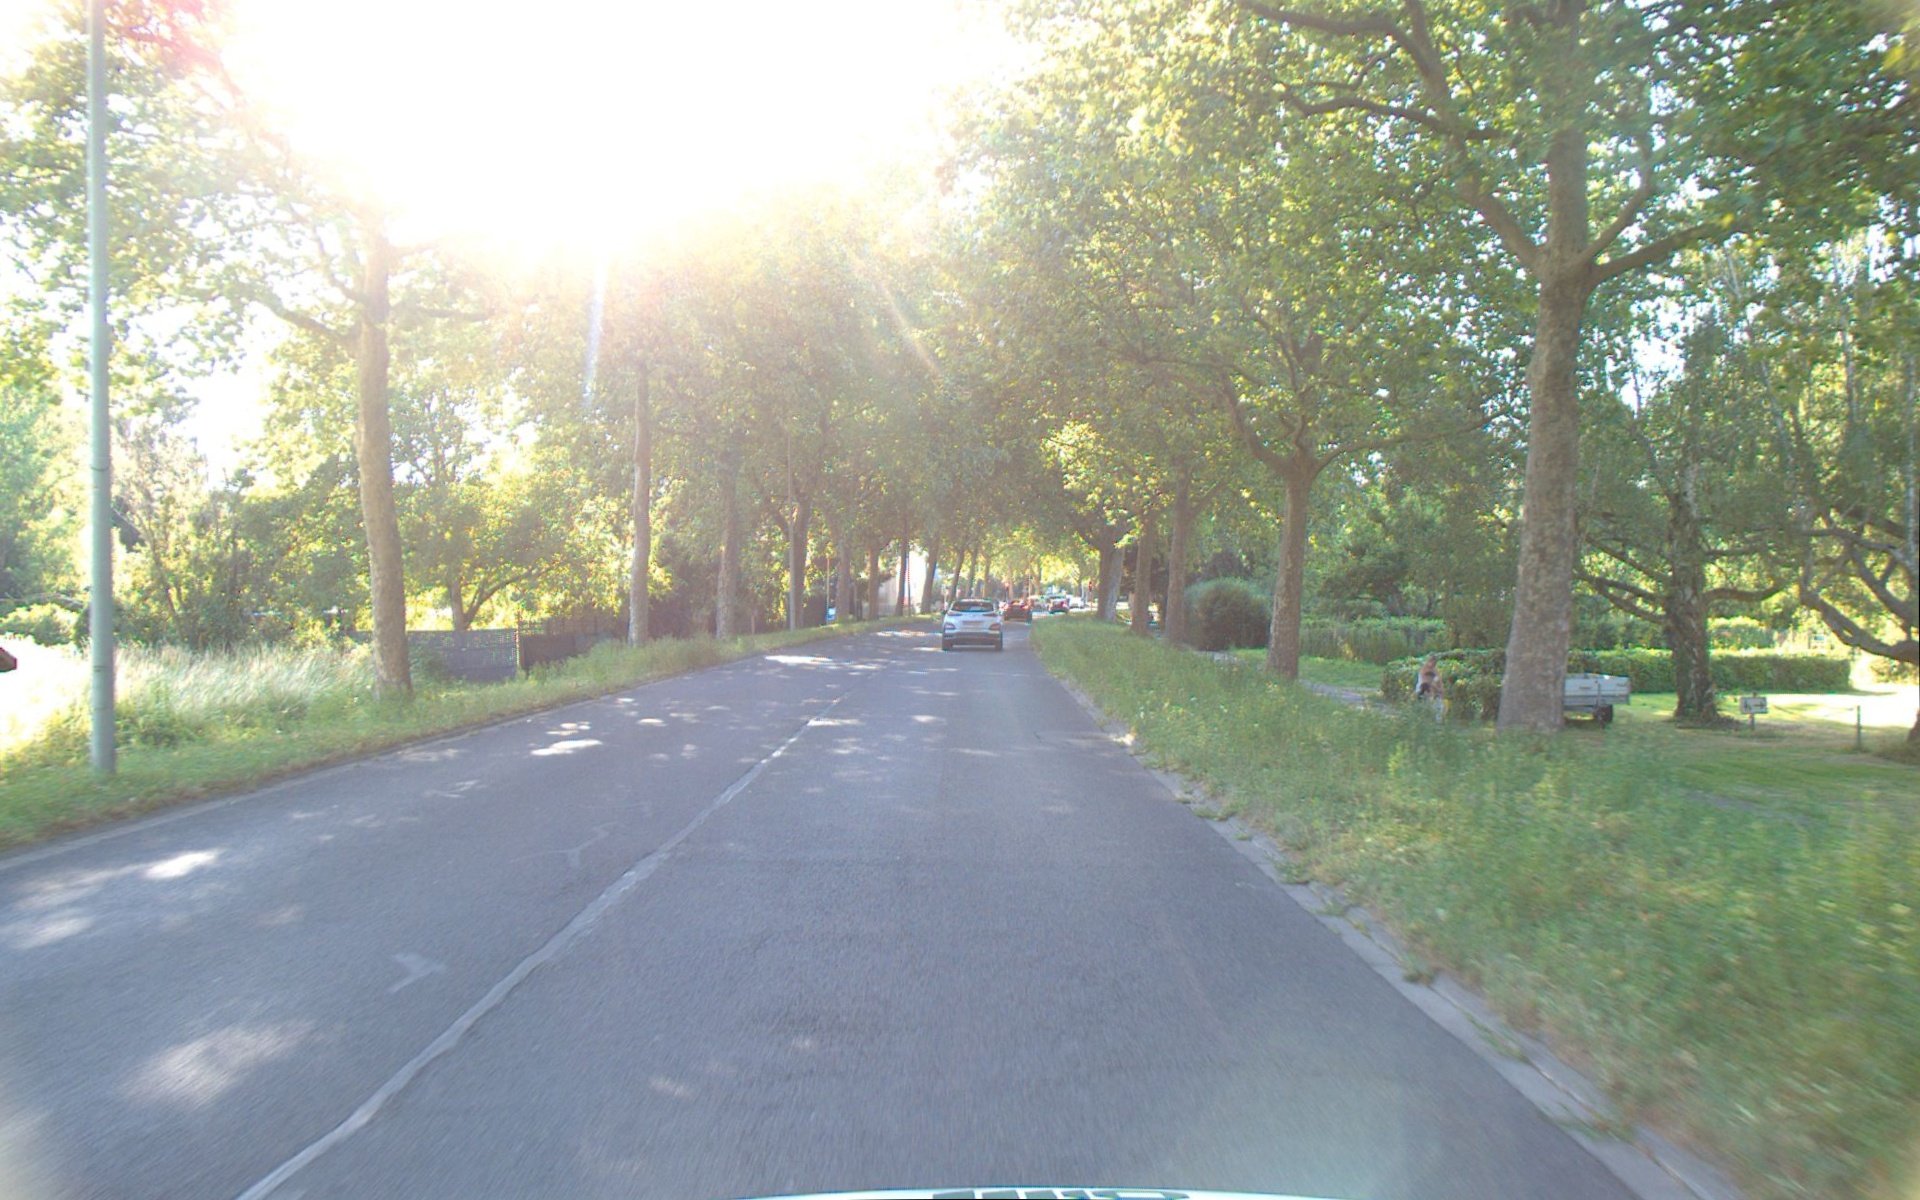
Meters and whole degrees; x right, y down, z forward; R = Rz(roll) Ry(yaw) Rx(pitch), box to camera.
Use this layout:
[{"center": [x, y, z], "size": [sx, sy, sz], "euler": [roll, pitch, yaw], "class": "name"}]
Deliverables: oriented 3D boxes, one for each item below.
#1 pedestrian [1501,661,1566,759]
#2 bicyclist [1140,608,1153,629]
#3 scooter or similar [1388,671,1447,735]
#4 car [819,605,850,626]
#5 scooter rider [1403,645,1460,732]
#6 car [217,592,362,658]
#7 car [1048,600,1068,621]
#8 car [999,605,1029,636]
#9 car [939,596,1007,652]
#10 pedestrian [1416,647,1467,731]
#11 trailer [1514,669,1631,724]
[{"center": [9.851, 1.867, 28.442], "size": [0.824, 1.604, 1.208], "euler": [1, -1, 8], "class": "pedestrian"}, {"center": [12.494, 1.271, 110.968], "size": [0.720, 1.390, 0.769], "euler": [1, -1, -8], "class": "bicyclist"}, {"center": [8.677, 1.935, 31.352], "size": [1.587, 1.155, 0.335], "euler": [2, -1, -45], "class": "scooter or similar"}, {"center": [-8.805, 1.090, 116.115], "size": [1.715, 1.327, 4.001], "euler": [-1, 1, 1], "class": "car"}, {"center": [8.975, 1.670, 31.476], "size": [0.770, 1.604, 0.840], "euler": [0, -1, 40], "class": "scooter rider"}, {"center": [-21.880, 0.800, 54.048], "size": [3.902, 2.049, 2.002], "euler": [1, -1, 11], "class": "car"}, {"center": [9.754, 1.045, 164.145], "size": [1.952, 2.049, 4.001], "euler": [1, -1, 3], "class": "car"}, {"center": [3.709, 1.366, 112.140], "size": [1.952, 2.049, 4.001], "euler": [1, -1, 3], "class": "car"}, {"center": [0.410, 0.707, 49.847], "size": [1.952, 1.602, 4.000], "euler": [1, 0, 1], "class": "car"}, {"center": [9.427, 1.724, 32.350], "size": [0.768, 1.604, 0.843], "euler": [0, -1, 31], "class": "pedestrian"}, {"center": [12.881, 2.025, 34.849], "size": [2.073, 1.071, 1.201], "euler": [1, -1, 5], "class": "trailer"}]
